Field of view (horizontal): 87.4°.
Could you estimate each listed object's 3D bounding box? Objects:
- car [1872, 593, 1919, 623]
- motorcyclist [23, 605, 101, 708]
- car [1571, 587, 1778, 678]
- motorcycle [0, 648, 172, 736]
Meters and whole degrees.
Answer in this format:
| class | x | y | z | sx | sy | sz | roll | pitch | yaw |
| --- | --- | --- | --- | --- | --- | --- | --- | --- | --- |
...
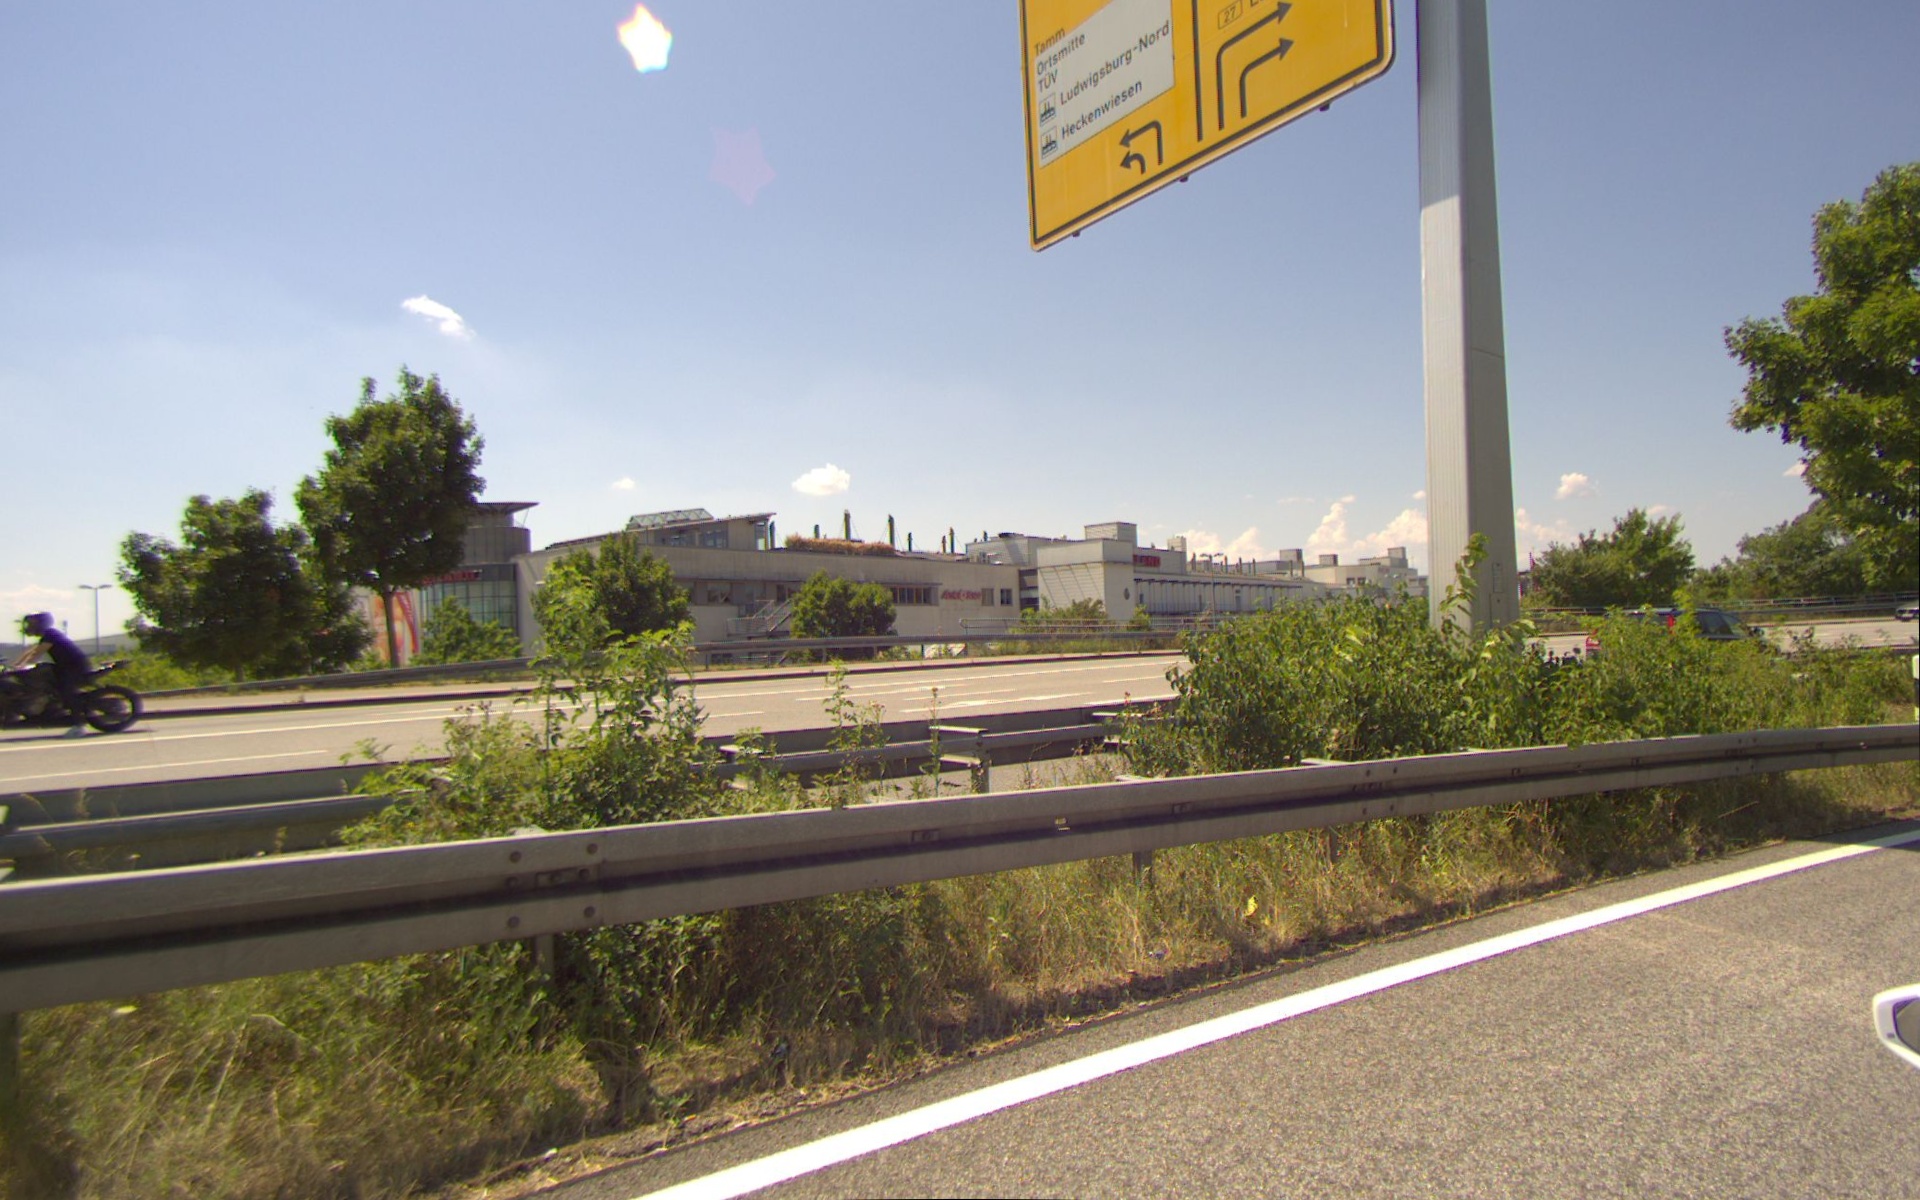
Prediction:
| class | x | y | z | sx | sy | sz | roll | pitch | yaw |
| --- | --- | --- | --- | --- | --- | --- | --- | --- | --- |
| car | 49.491 | 0.415 | 50.463 | 5.727 | 1.461 | 2.157 | 0 | -1 | -6 |
| motorcyclist | -11.980 | 0.750 | 13.403 | 0.668 | 1.319 | 0.719 | -5 | -4 | 44 |
| car | 13.841 | 0.631 | 19.379 | 4.685 | 1.565 | 1.721 | 1 | -3 | -34 |
| motorcycle | -11.972 | 1.209 | 13.379 | 0.556 | 1.094 | 2.271 | -4 | -4 | 43 |
